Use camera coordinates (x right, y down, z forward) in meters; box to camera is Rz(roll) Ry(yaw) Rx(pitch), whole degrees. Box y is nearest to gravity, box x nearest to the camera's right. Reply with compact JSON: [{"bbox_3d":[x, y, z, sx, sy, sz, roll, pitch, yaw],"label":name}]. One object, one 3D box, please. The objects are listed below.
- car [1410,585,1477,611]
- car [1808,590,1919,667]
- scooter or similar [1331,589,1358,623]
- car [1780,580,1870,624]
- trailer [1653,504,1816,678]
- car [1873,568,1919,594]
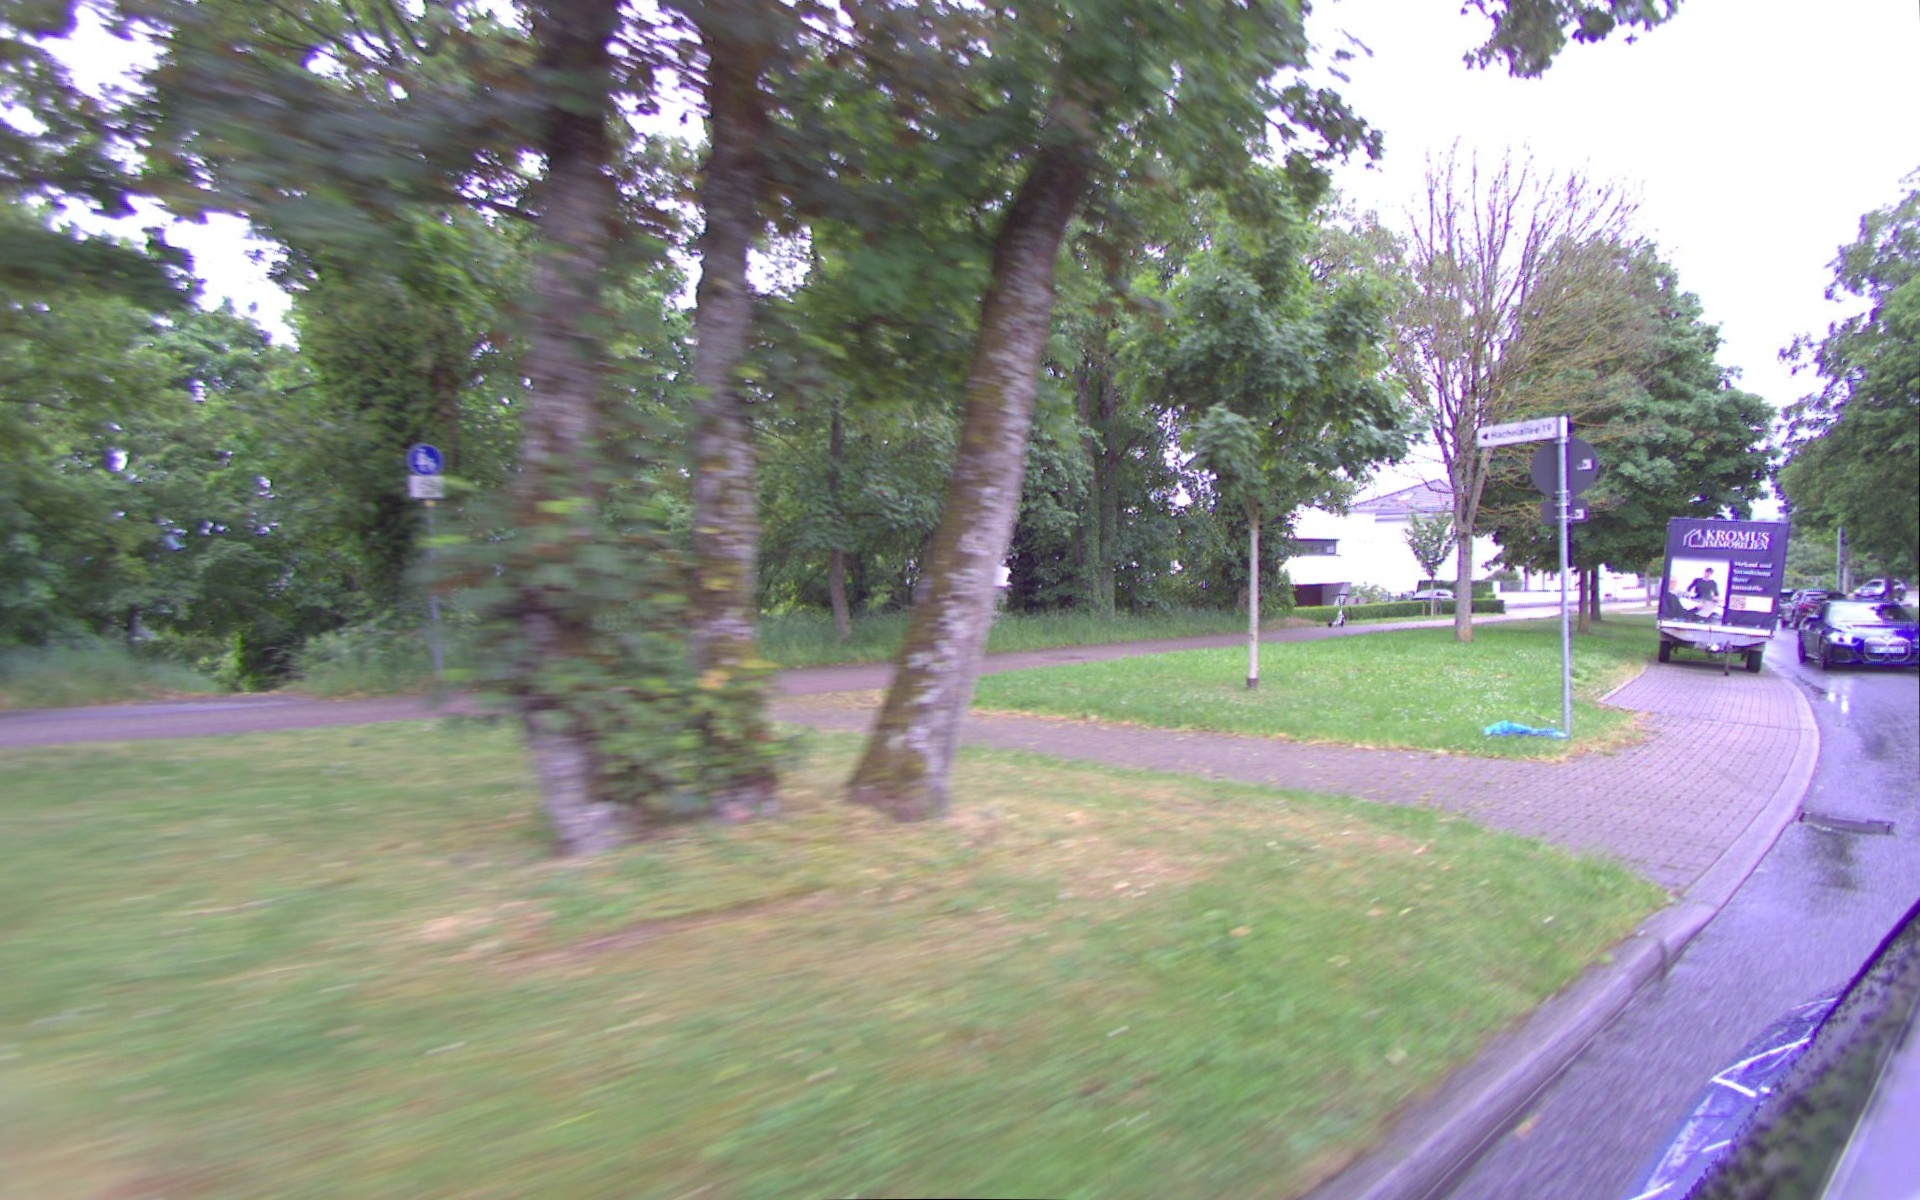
[{"bbox_3d":[31.182,-0.147,65.232,4.375,1.570,1.927,-2,0,-34],"label":"car"},{"bbox_3d":[19.743,0.541,21.849,1.804,1.486,3.926,0,1,35],"label":"car"},{"bbox_3d":[13.383,0.203,35.196,0.462,1.161,1.282,3,2,40],"label":"scooter or similar"},{"bbox_3d":[35.706,0.073,41.878,1.840,1.713,4.363,1,1,27],"label":"car"},{"bbox_3d":[15.154,-0.234,19.999,1.990,2.841,5.535,7,5,36],"label":"trailer"},{"bbox_3d":[72.426,-1.459,77.695,3.917,1.882,2.003,-2,0,-24],"label":"car"}]
